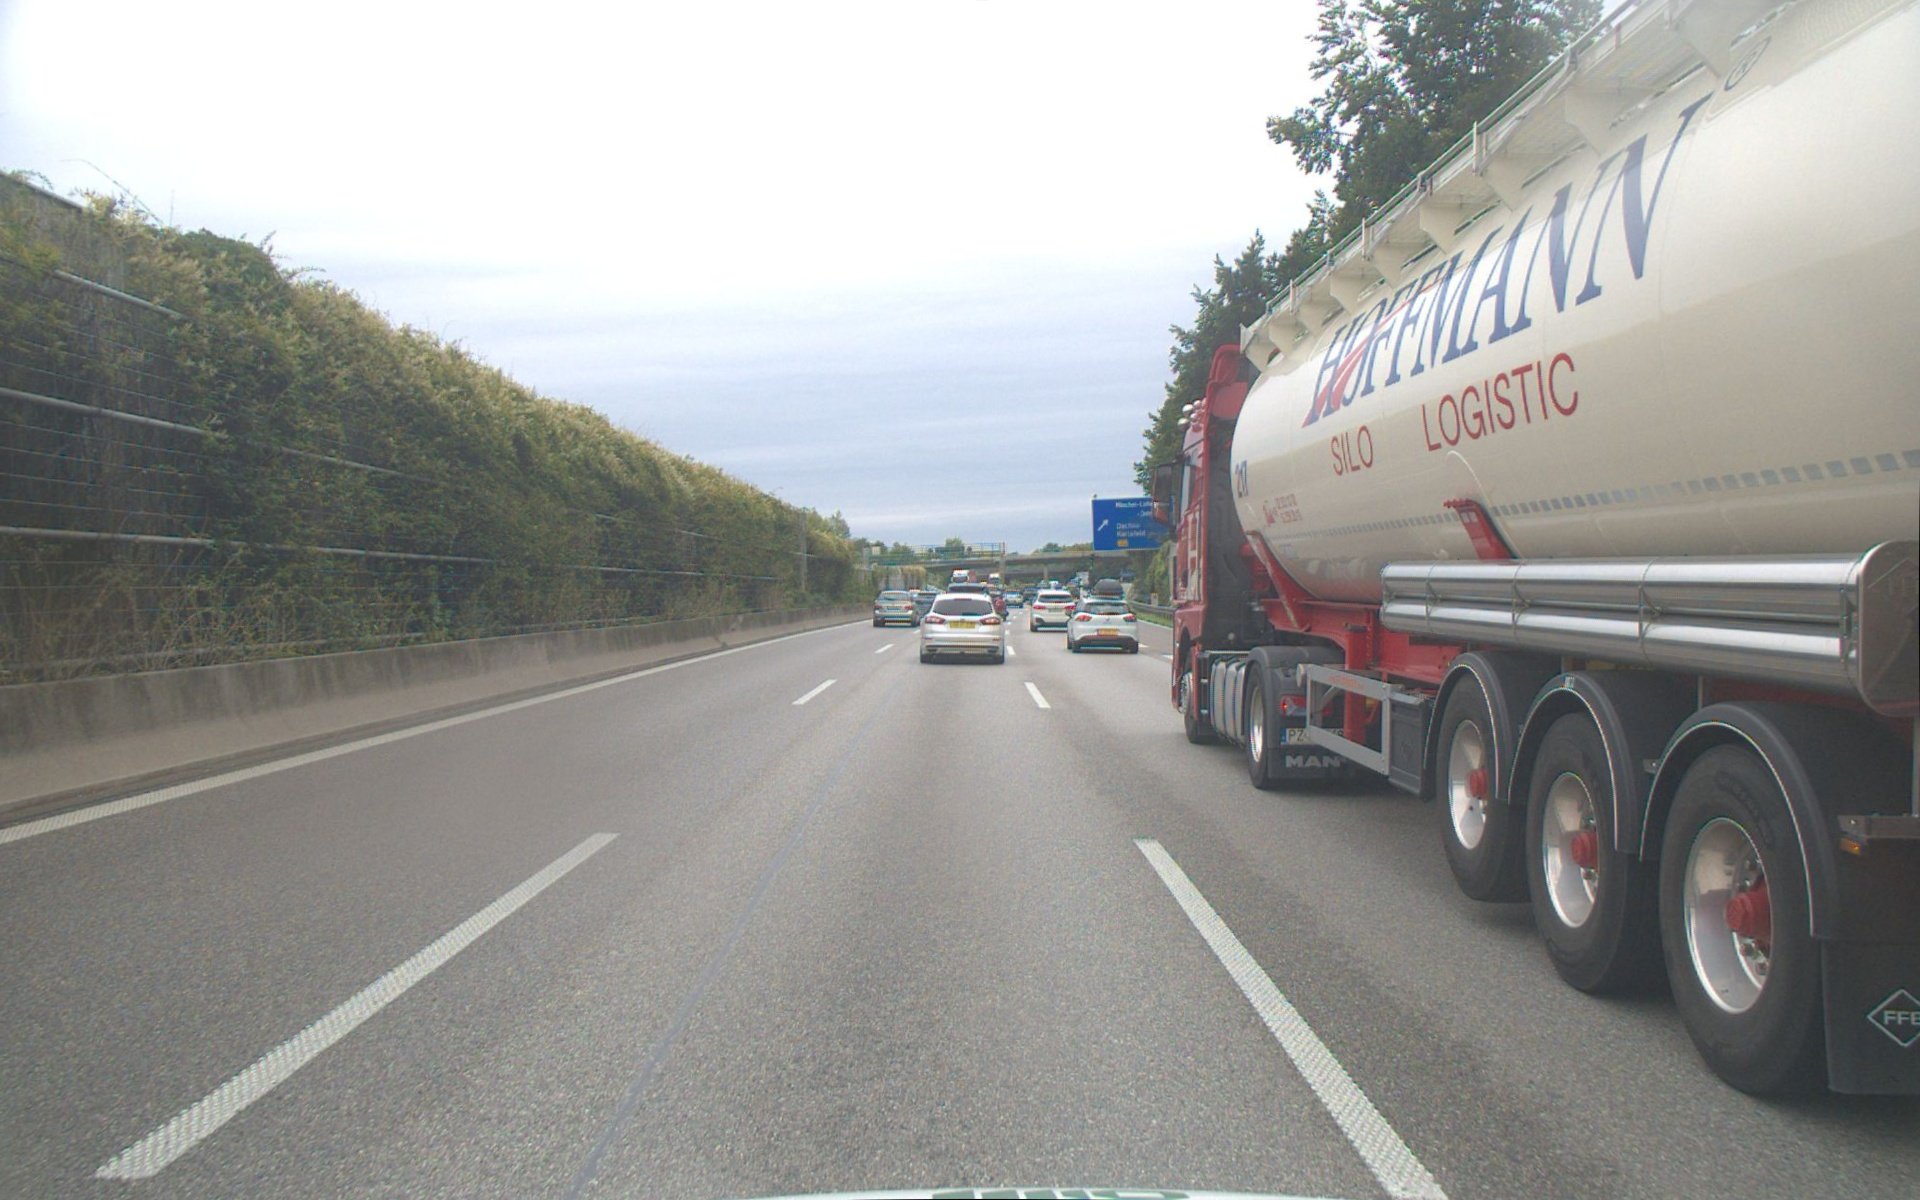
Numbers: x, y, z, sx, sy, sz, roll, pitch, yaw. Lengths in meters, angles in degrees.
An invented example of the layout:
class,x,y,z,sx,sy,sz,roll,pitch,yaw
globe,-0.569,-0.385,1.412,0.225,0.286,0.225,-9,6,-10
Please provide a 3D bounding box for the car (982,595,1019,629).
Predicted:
class,x,y,z,sx,sy,sz,roll,pitch,yaw
car,2.082,0.570,84.387,1.654,1.532,3.873,4,1,3

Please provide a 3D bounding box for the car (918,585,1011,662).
class,x,y,z,sx,sy,sz,roll,pitch,yaw
car,0.024,0.481,36.594,1.853,1.530,5.028,2,0,-2

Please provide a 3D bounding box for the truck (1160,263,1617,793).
class,x,y,z,sx,sy,sz,roll,pitch,yaw
truck,3.629,-0.580,15.741,2.640,3.981,6.556,0,0,0

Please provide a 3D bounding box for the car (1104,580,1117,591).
class,x,y,z,sx,sy,sz,roll,pitch,yaw
car,20.348,-1.960,223.441,1.653,1.447,3.874,0,1,6

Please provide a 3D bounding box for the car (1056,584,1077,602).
class,x,y,z,sx,sy,sz,roll,pitch,yaw
car,9.841,-0.643,152.541,1.653,1.566,3.874,0,1,7

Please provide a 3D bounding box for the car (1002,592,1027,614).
class,x,y,z,sx,sy,sz,roll,pitch,yaw
car,4.675,0.215,140.669,1.752,1.811,3.874,-1,0,7

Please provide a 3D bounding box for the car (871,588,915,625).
class,x,y,z,sx,sy,sz,roll,pitch,yaw
car,-2.788,0.288,69.624,1.685,1.495,5.029,0,-1,-1

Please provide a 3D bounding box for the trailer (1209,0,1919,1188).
class,x,y,z,sx,sy,sz,roll,pitch,yaw
trailer,3.674,-0.597,8.952,2.613,4.007,13.130,0,1,0

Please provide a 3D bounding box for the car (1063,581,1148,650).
class,x,y,z,sx,sy,sz,roll,pitch,yaw
car,3.773,0.383,43.686,1.779,1.654,5.030,2,0,0

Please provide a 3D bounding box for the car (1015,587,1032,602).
class,x,y,z,sx,sy,sz,roll,pitch,yaw
car,6.625,-0.612,173.218,1.654,1.566,3.871,0,1,0

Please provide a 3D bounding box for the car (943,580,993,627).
class,x,y,z,sx,sy,sz,roll,pitch,yaw
car,0.276,0.094,61.652,1.655,1.532,3.871,4,1,-1

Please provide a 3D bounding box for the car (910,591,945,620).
class,x,y,z,sx,sy,sz,roll,pitch,yaw
car,-1.772,0.295,92.118,1.684,1.538,5.031,0,0,2

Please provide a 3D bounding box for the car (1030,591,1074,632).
class,x,y,z,sx,sy,sz,roll,pitch,yaw
car,3.532,0.447,63.754,1.653,1.533,3.872,0,0,3
